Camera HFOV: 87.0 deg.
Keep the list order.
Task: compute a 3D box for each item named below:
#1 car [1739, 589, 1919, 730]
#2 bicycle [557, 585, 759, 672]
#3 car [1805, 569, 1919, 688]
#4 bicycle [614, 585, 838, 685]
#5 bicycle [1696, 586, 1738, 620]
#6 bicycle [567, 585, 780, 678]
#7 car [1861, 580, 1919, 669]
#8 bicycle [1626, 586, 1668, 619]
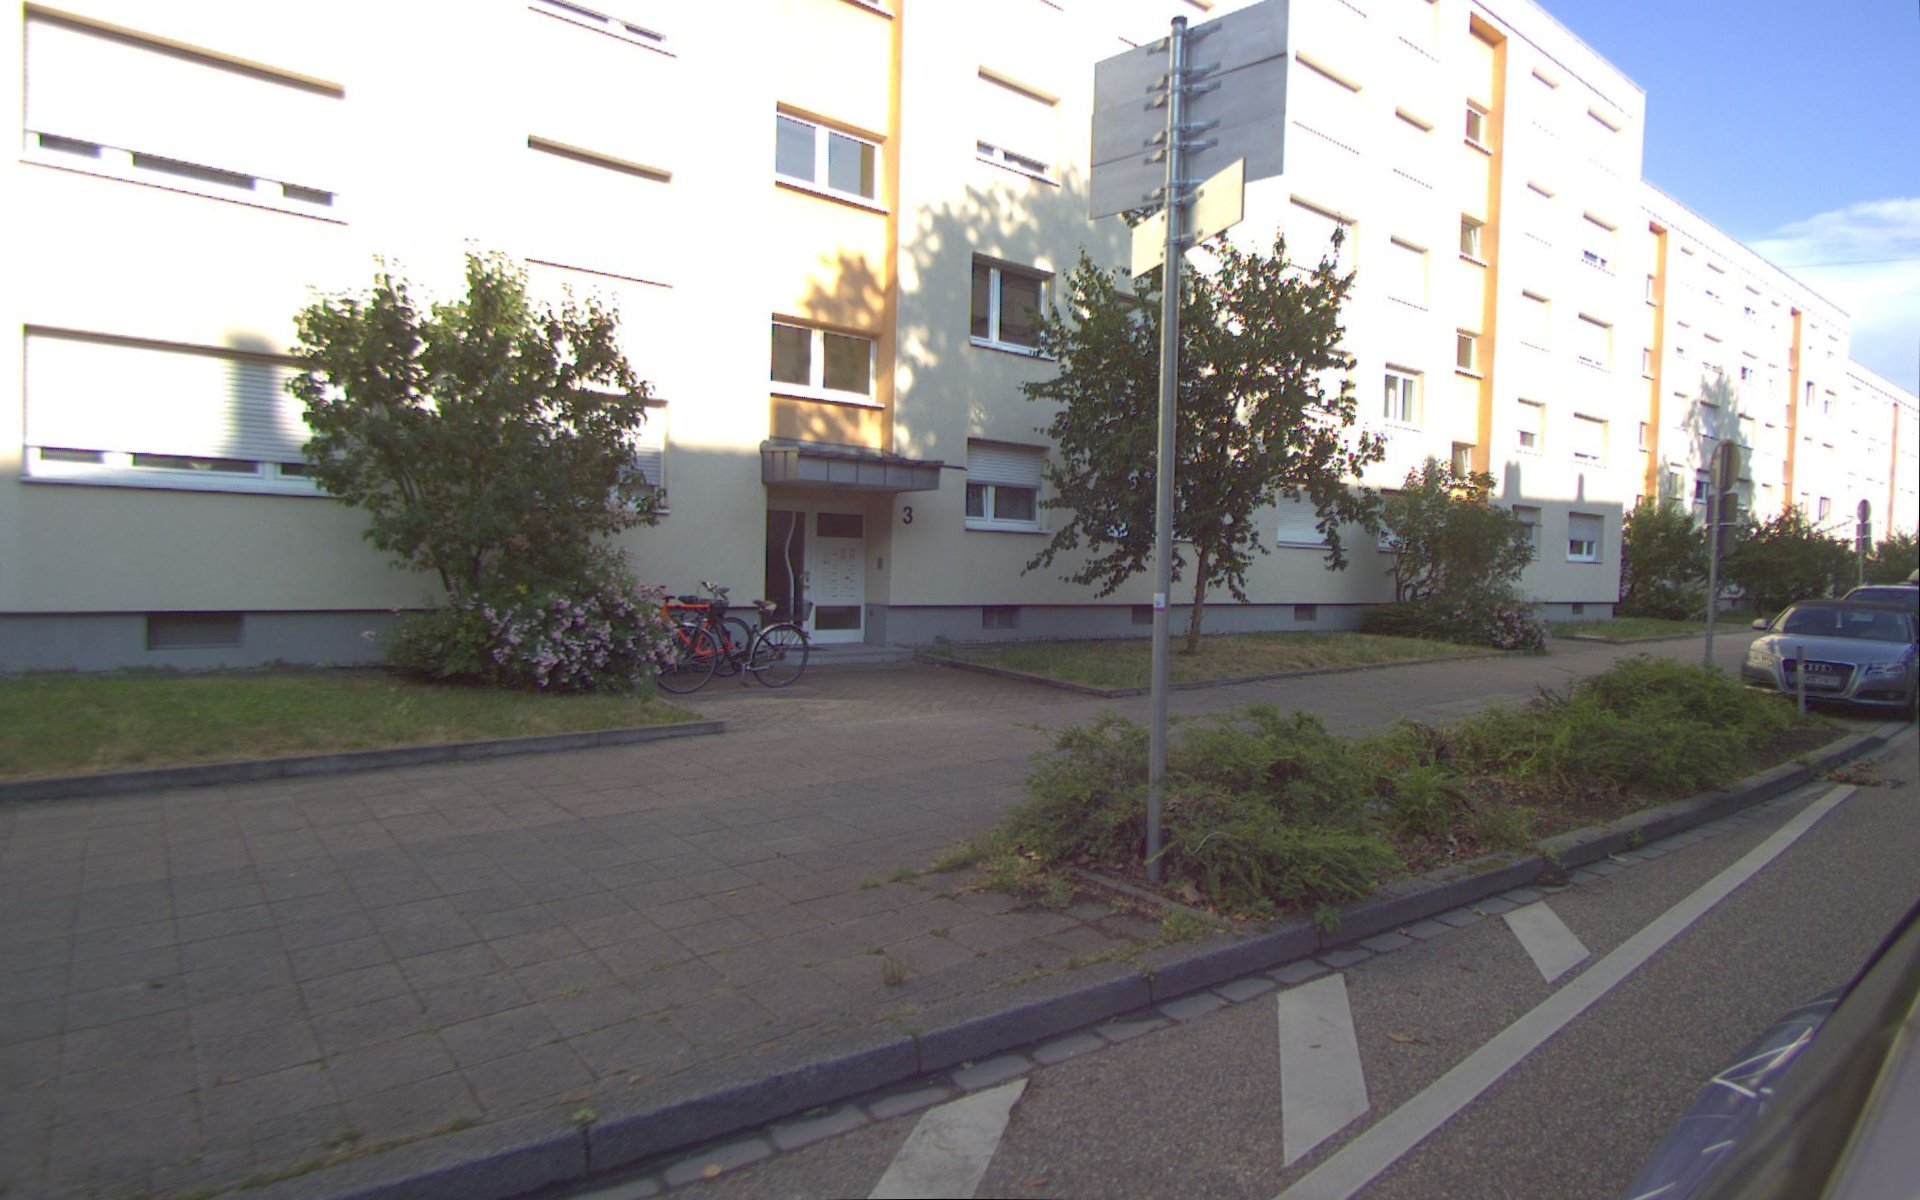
[{"bbox_3d":[11.968,0.662,13.483,3.931,1.491,1.744,-2,3,-41],"label":"car"},{"bbox_3d":[-3.491,0.332,11.873,2.190,0.937,0.637,2,-1,-41],"label":"bicycle"},{"bbox_3d":[15.704,0.386,16.681,4.596,1.678,1.932,-2,6,-41],"label":"car"},{"bbox_3d":[-2.355,0.347,10.403,2.190,0.937,0.637,2,-1,-41],"label":"bicycle"},{"bbox_3d":[25.672,0.115,34.303,2.351,1.095,0.601,1,1,-41],"label":"bicycle"},{"bbox_3d":[-3.116,0.341,11.178,2.190,0.937,0.637,2,-1,-41],"label":"bicycle"},{"bbox_3d":[20.033,0.476,20.660,4.267,1.671,1.901,0,2,-41],"label":"car"},{"bbox_3d":[24.517,0.107,36.087,2.351,1.095,0.601,1,1,-41],"label":"bicycle"}]
